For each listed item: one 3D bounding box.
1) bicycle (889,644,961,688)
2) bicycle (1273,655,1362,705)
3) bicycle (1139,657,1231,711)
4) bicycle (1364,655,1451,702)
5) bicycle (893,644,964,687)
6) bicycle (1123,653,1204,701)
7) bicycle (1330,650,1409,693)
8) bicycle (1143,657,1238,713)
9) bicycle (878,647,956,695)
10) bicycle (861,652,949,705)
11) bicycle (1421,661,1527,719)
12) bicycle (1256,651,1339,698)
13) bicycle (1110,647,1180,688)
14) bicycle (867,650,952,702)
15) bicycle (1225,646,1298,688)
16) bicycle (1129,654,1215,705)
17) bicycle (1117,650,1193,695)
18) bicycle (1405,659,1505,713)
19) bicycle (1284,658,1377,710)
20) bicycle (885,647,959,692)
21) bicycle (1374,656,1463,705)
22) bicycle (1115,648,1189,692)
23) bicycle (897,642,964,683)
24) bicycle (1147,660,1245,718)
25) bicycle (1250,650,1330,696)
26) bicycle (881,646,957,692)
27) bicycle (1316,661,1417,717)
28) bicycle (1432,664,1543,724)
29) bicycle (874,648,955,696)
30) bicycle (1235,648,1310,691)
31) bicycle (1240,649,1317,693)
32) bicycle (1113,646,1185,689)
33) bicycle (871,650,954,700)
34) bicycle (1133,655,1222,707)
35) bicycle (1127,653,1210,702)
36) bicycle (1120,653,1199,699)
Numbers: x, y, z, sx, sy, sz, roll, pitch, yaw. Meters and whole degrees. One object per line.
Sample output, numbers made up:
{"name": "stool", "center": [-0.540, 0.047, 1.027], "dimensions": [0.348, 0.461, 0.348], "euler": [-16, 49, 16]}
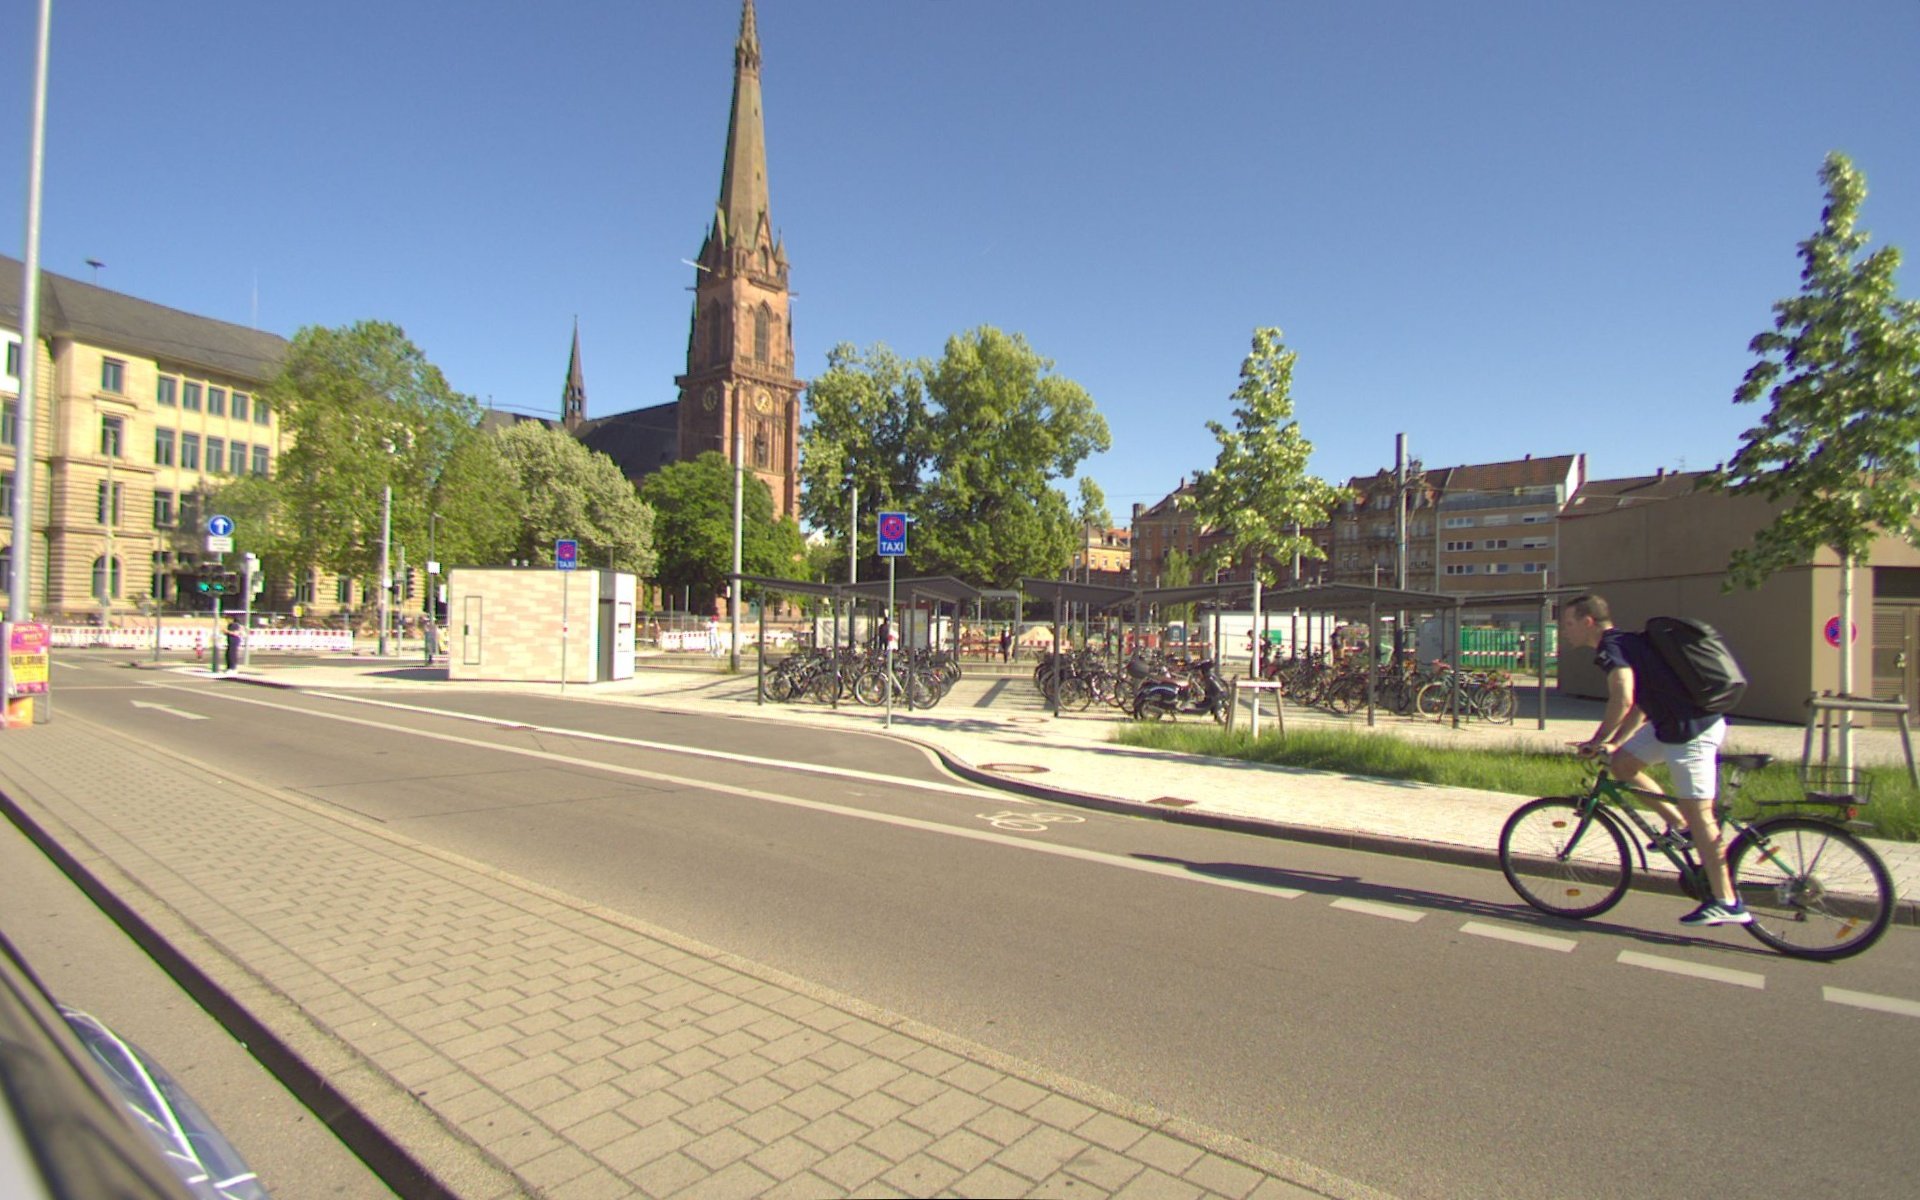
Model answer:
{"name": "bicycle", "center": [-0.872, 1.675, 25.663], "dimensions": [1.764, 1.046, 0.567], "euler": [2, -3, 3]}
{"name": "bicycle", "center": [7.987, 1.787, 22.660], "dimensions": [1.764, 1.046, 0.567], "euler": [2, -3, 3]}
{"name": "bicycle", "center": [4.631, 1.722, 20.915], "dimensions": [1.764, 1.046, 0.567], "euler": [2, -3, 3]}
{"name": "bicycle", "center": [10.535, 1.845, 23.843], "dimensions": [1.764, 1.046, 0.567], "euler": [2, -3, 3]}
{"name": "bicycle", "center": [-0.813, 1.705, 26.328], "dimensions": [1.764, 1.046, 0.567], "euler": [2, -3, 3]}
{"name": "bicycle", "center": [4.755, 1.803, 23.692], "dimensions": [1.764, 1.046, 0.567], "euler": [2, -3, 3]}
{"name": "bicycle", "center": [10.562, 1.838, 26.130], "dimensions": [1.764, 1.046, 0.567], "euler": [2, -3, 3]}
{"name": "bicycle", "center": [4.611, 1.699, 20.312], "dimensions": [1.764, 1.046, 0.567], "euler": [2, -3, 3]}
{"name": "bicycle", "center": [-1.005, 1.661, 23.762], "dimensions": [1.764, 1.046, 0.567], "euler": [2, -3, 3]}
{"name": "bicycle", "center": [-1.152, 1.640, 21.335], "dimensions": [1.764, 1.046, 0.567], "euler": [2, -3, 3]}
{"name": "bicycle", "center": [10.105, 1.762, 19.934], "dimensions": [1.764, 1.046, 0.567], "euler": [2, -3, 3]}
{"name": "bicycle", "center": [8.062, 1.781, 24.210], "dimensions": [1.764, 1.046, 0.567], "euler": [2, -3, 3]}
{"name": "bicycle", "center": [4.941, 1.794, 27.050], "dimensions": [1.764, 1.046, 0.567], "euler": [2, -3, 3]}
{"name": "bicycle", "center": [-1.092, 1.645, 21.945], "dimensions": [1.764, 1.046, 0.567], "euler": [2, -3, 3]}
{"name": "bicycle", "center": [8.046, 1.792, 27.055], "dimensions": [1.764, 1.046, 0.567], "euler": [2, -3, 3]}
{"name": "bicycle", "center": [4.664, 1.741, 22.295], "dimensions": [1.764, 1.046, 0.567], "euler": [2, -3, 3]}
{"name": "bicycle", "center": [4.832, 1.788, 25.176], "dimensions": [1.764, 1.046, 0.567], "euler": [2, -3, 3]}
{"name": "bicycle", "center": [10.303, 1.787, 21.102], "dimensions": [1.769, 1.046, 0.566], "euler": [1, -3, 11]}
{"name": "bicycle", "center": [7.919, 1.791, 21.663], "dimensions": [1.764, 1.046, 0.567], "euler": [2, -3, 3]}
{"name": "bicycle", "center": [-0.923, 1.711, 24.999], "dimensions": [1.764, 1.046, 0.567], "euler": [2, -3, 3]}
{"name": "bicycle", "center": [10.502, 1.848, 23.231], "dimensions": [1.764, 1.046, 0.567], "euler": [2, -3, 3]}
{"name": "bicycle", "center": [4.877, 1.778, 25.779], "dimensions": [1.764, 1.046, 0.567], "euler": [2, -3, 3]}
{"name": "bicycle", "center": [-0.804, 1.692, 27.587], "dimensions": [1.764, 1.046, 0.567], "euler": [2, -3, 3]}
{"name": "bicycle", "center": [4.572, 1.711, 19.647], "dimensions": [1.764, 1.046, 0.567], "euler": [2, -3, 3]}
{"name": "bicycle", "center": [8.118, 1.794, 24.927], "dimensions": [1.764, 1.046, 0.567], "euler": [2, -3, 3]}
{"name": "bicycle", "center": [-0.981, 1.659, 24.401], "dimensions": [1.764, 1.046, 0.567], "euler": [2, -3, 3]}
{"name": "bicycle", "center": [8.169, 1.782, 20.373], "dimensions": [1.764, 1.046, 0.567], "euler": [2, -3, 3]}
{"name": "bicycle", "center": [9.885, 1.758, 18.998], "dimensions": [1.764, 1.046, 0.567], "euler": [2, -3, 3]}
{"name": "bicycle", "center": [-1.032, 1.637, 23.161], "dimensions": [1.764, 1.046, 0.567], "euler": [2, -3, 3]}
{"name": "bicycle", "center": [8.120, 1.797, 26.342], "dimensions": [1.764, 1.046, 0.567], "euler": [2, -3, 3]}
{"name": "bicycle", "center": [8.091, 1.805, 25.721], "dimensions": [1.764, 1.046, 0.567], "euler": [2, -3, 3]}
{"name": "bicycle", "center": [4.916, 1.757, 26.414], "dimensions": [1.764, 1.046, 0.567], "euler": [2, -3, 3]}
{"name": "bicycle", "center": [-1.047, 1.657, 22.545], "dimensions": [1.764, 1.046, 0.567], "euler": [2, -3, 3]}
{"name": "bicycle", "center": [4.636, 1.728, 21.659], "dimensions": [1.764, 1.046, 0.567], "euler": [2, -3, 3]}
{"name": "bicycle", "center": [4.718, 1.756, 22.983], "dimensions": [1.764, 1.046, 0.567], "euler": [2, -3, 3]}
{"name": "bicycle", "center": [4.800, 1.831, 24.410], "dimensions": [1.764, 1.046, 0.567], "euler": [2, -3, 3]}
